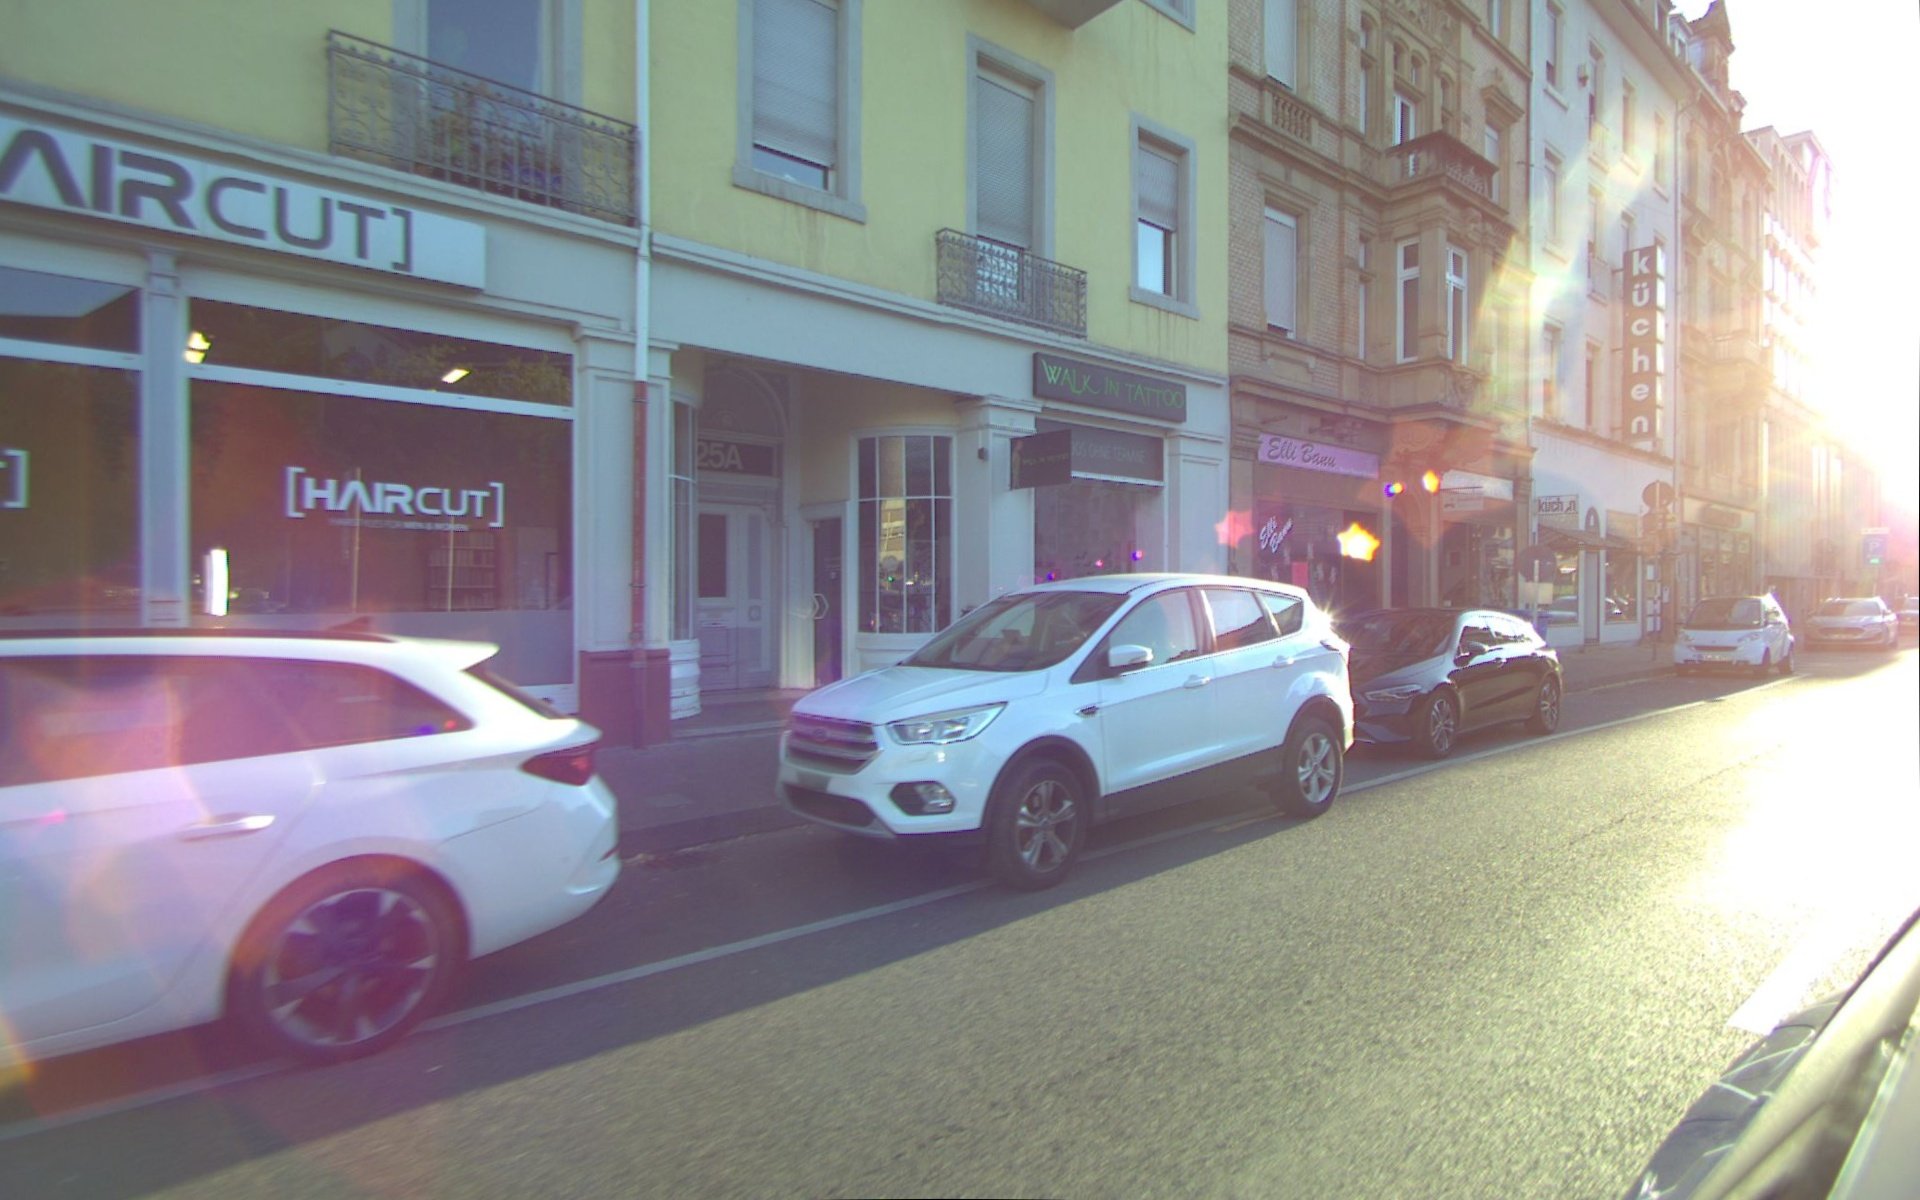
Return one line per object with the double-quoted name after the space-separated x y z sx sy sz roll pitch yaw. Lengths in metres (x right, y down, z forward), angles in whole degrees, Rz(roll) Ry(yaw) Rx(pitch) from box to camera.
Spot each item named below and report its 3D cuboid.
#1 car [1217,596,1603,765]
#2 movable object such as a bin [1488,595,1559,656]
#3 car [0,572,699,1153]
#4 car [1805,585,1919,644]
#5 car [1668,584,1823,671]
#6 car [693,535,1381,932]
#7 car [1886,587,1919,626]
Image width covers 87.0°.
5.075 0.690 11.077 4.764 1.452 1.997 0 0 -40 "car"
11.682 0.512 20.962 1.373 1.201 0.868 0 0 -41 "movable object such as a bin"
-3.519 0.695 3.263 4.782 1.563 2.020 1 -1 -40 "car"
25.977 0.425 29.047 4.600 1.555 1.996 1 -1 -42 "car"
15.968 0.531 20.516 3.928 1.605 1.703 1 0 -40 "car"
0.780 0.623 6.732 4.577 1.767 1.885 1 -1 -41 "car"
39.275 0.278 41.081 3.929 1.539 1.998 0 1 -40 "car"
